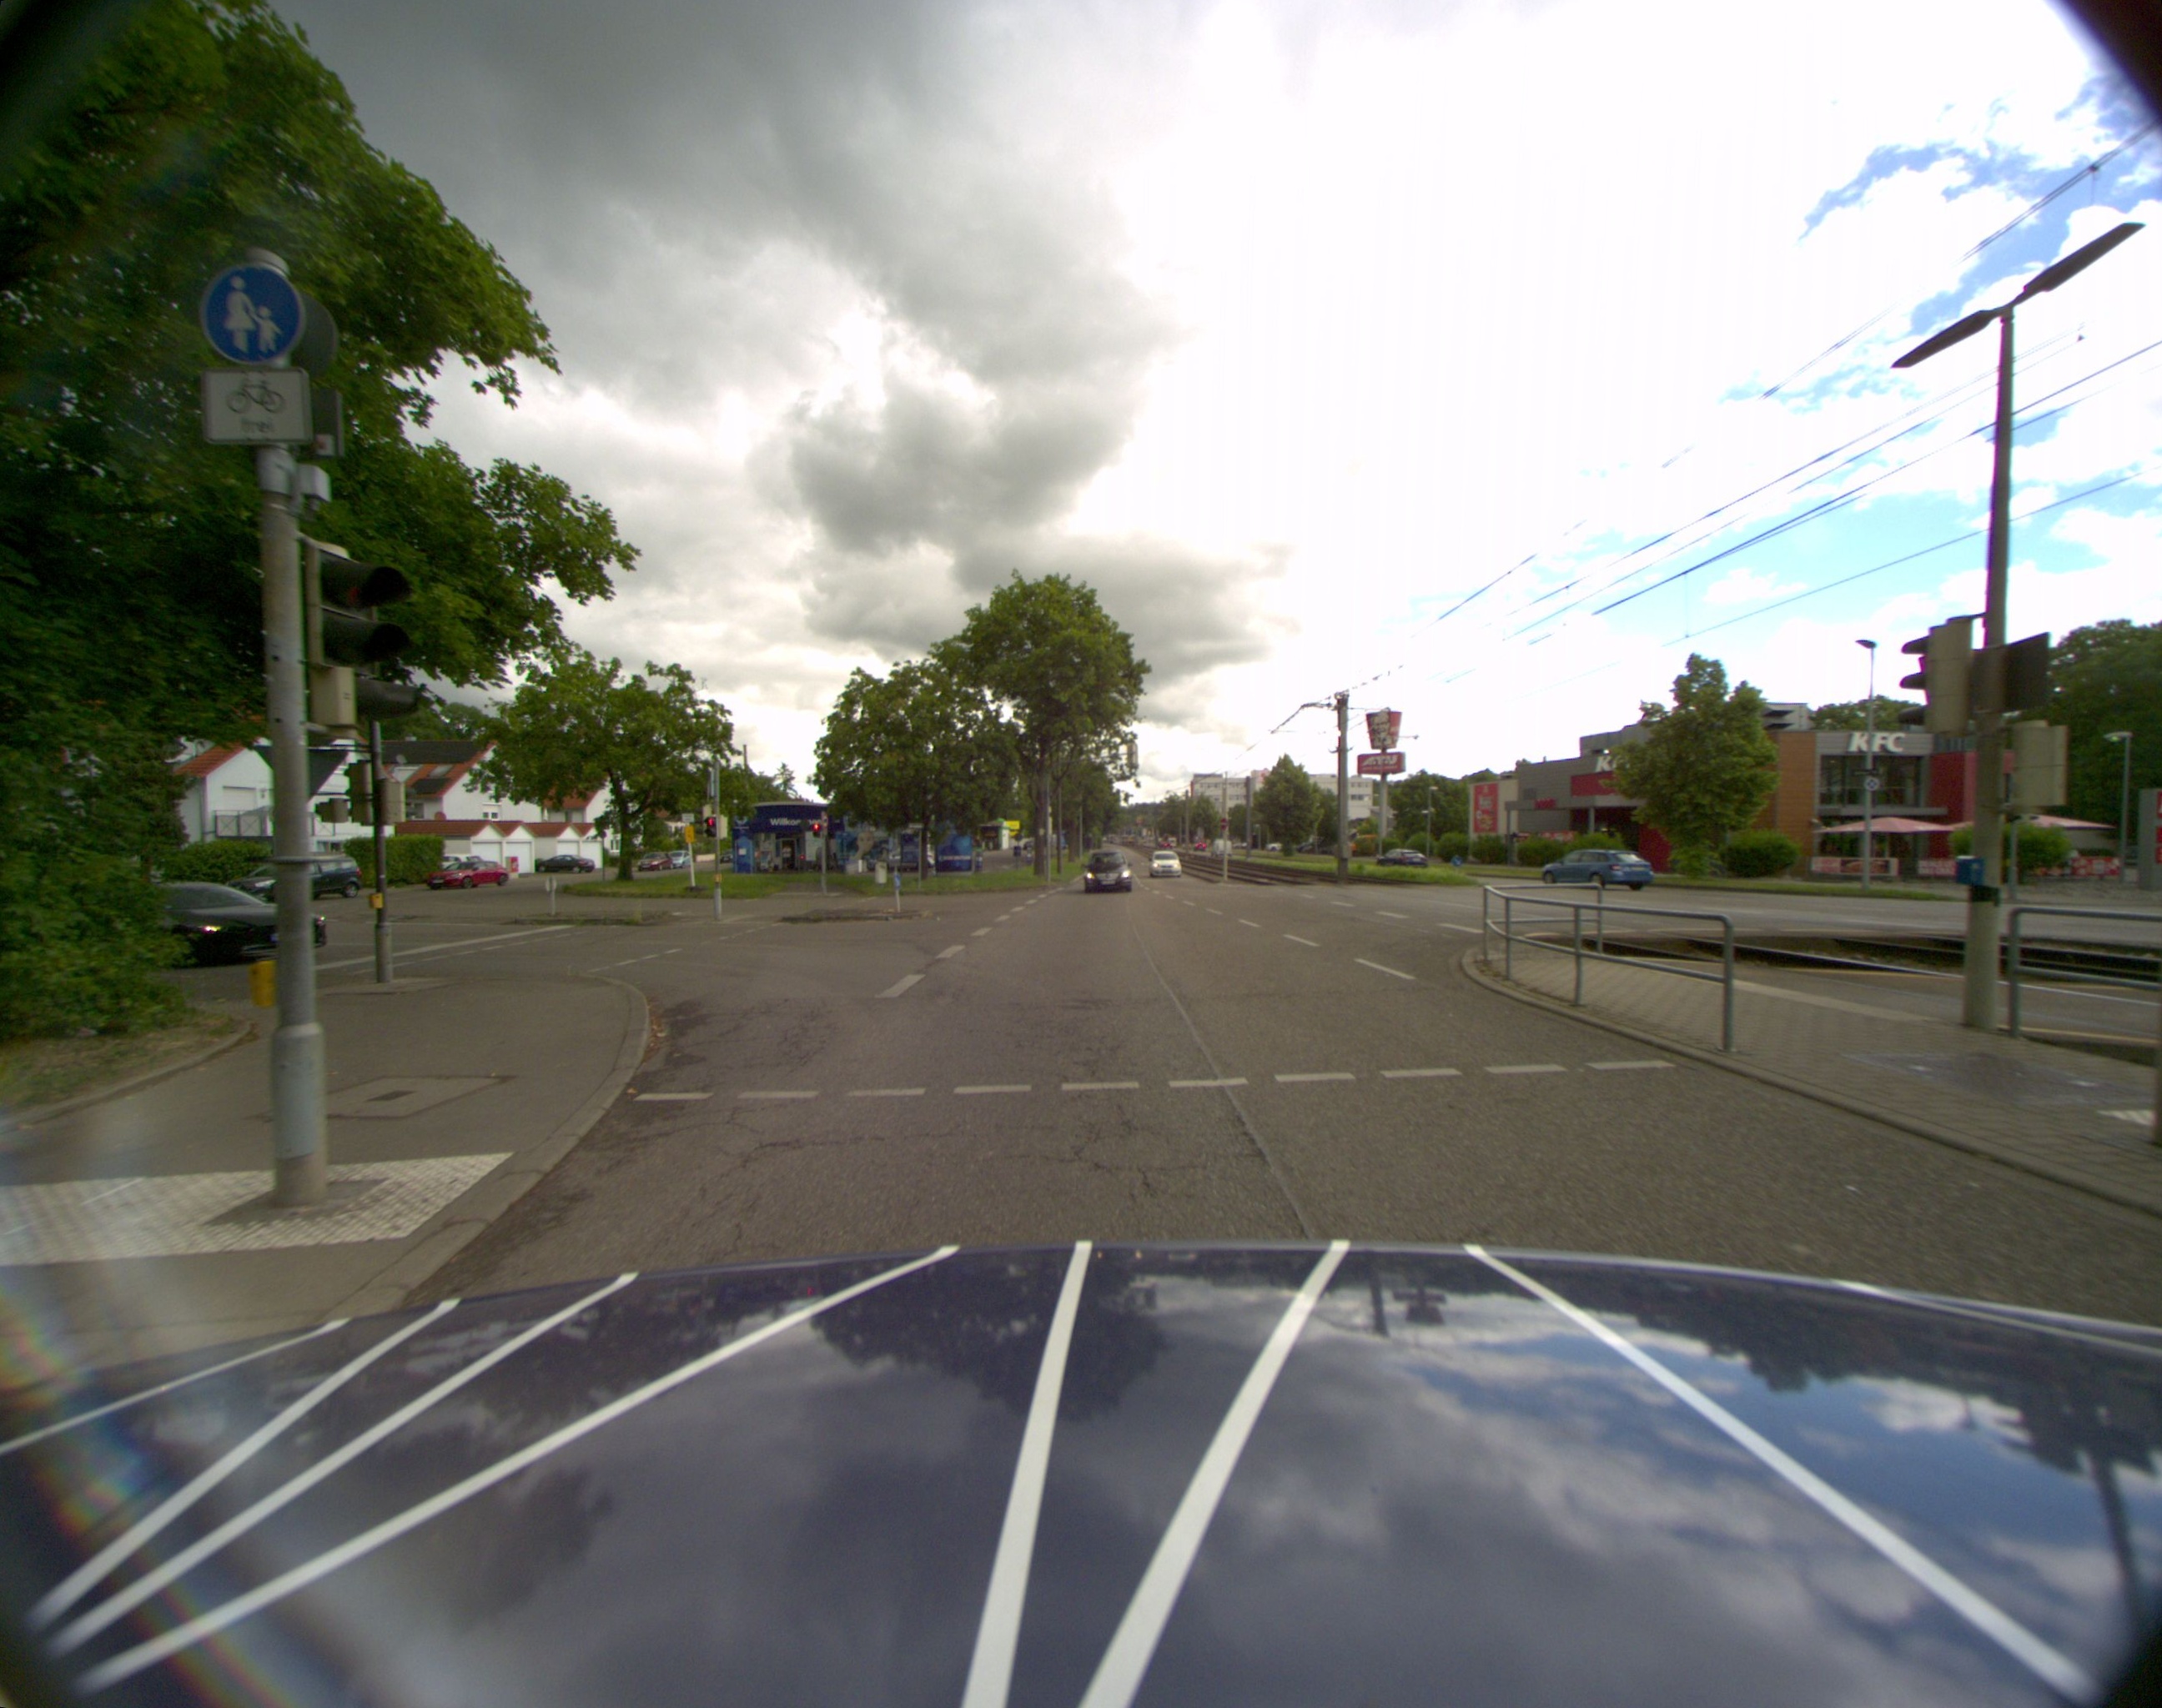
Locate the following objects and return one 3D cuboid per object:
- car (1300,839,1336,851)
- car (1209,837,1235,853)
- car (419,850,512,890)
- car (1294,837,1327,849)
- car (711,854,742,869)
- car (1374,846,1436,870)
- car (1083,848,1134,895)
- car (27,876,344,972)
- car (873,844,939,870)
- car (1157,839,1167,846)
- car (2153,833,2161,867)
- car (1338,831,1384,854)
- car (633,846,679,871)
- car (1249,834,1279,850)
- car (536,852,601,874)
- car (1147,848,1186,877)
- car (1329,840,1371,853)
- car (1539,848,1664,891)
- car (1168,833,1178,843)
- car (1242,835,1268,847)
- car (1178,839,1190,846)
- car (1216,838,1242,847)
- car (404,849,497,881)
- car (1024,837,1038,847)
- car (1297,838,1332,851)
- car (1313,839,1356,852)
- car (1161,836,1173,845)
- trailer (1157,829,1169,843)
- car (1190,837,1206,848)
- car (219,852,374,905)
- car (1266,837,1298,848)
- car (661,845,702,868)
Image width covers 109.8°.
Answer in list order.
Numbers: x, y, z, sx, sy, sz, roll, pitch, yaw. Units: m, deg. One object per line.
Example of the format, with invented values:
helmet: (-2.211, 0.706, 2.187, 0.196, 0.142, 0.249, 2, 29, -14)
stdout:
car: (30.501, -1.148, 97.835, 3.996, 1.413, 1.937, -3, 2, 2)
car: (17.694, -1.157, 95.617, 1.999, 2.002, 4.883, 0, 1, -4)
car: (-32.135, 0.802, 39.810, 1.620, 1.832, 3.922, -3, 1, -1)
car: (31.727, -1.492, 105.166, 3.996, 1.498, 2.002, -3, 2, 2)
car: (-39.308, 0.842, 84.363, 2.000, 1.456, 3.996, -3, 1, -10)
car: (21.275, 0.264, 50.091, 1.999, 1.473, 4.505, 1, 0, -2)
car: (1.056, 0.625, 29.556, 1.786, 1.614, 4.000, -3, 1, 2)
car: (-16.213, 1.223, 13.864, 4.160, 1.517, 1.705, 0, 2, 7)
car: (-11.710, 0.198, 50.767, 4.216, 1.687, 1.837, 0, 1, -18)
car: (19.735, -2.847, 185.981, 1.788, 1.573, 4.480, 1, 2, -3)
car: (65.284, -0.245, 44.091, 4.000, 2.002, 1.998, -1, 1, -9)
car: (29.492, -1.217, 80.038, 3.996, 2.153, 2.058, -3, 2, 2)
car: (-34.473, 0.344, 61.727, 1.948, 1.832, 4.247, -3, 1, -11)
car: (31.068, -2.050, 128.952, 4.480, 2.733, 2.288, 1, 2, 2)
car: (-38.428, 0.674, 57.009, 3.556, 1.449, 1.775, -3, 2, 2)
car: (4.953, 0.456, 44.378, 1.786, 1.436, 3.999, -3, 1, 0)
car: (30.192, -0.845, 85.300, 3.996, 1.229, 2.000, -3, 2, 2)
car: (19.139, 0.520, 28.162, 1.599, 1.438, 4.051, 1, 1, -4)
car: (24.168, -4.272, 200.206, 1.873, 2.485, 5.998, 1, 1, 1)
car: (31.717, -2.343, 138.426, 4.355, 1.908, 2.000, -3, 2, 5)
car: (22.533, -2.547, 166.230, 1.998, 1.474, 3.999, 2, 1, 1)
car: (28.544, -2.157, 146.704, 4.610, 1.484, 2.000, -3, 2, 5)
car: (-38.109, 0.658, 46.016, 3.812, 1.685, 1.919, -3, 2, -4)
car: (-9.164, -2.161, 138.990, 1.998, 1.629, 4.326, 2, 2, 3)
car: (31.504, -1.262, 102.531, 3.996, 1.498, 1.937, -3, 2, 2)
car: (30.225, -1.010, 90.566, 4.384, 1.346, 2.195, -3, 2, 2)
car: (19.624, -3.155, 174.004, 1.999, 2.002, 3.998, 1, 1, -2)
trailer: (25.195, -5.538, 234.187, 2.677, 3.875, 14.423, 1, 2, 2)
car: (21.533, -2.086, 139.973, 1.999, 2.002, 4.245, 0, 1, -2)
car: (-31.808, 0.939, 31.039, 1.722, 1.832, 4.406, -3, 1, -2)
car: (31.661, -1.762, 119.948, 4.481, 1.498, 1.795, -3, 2, -1)
car: (-35.257, 0.208, 67.179, 1.948, 1.832, 4.461, -3, 1, -11)
